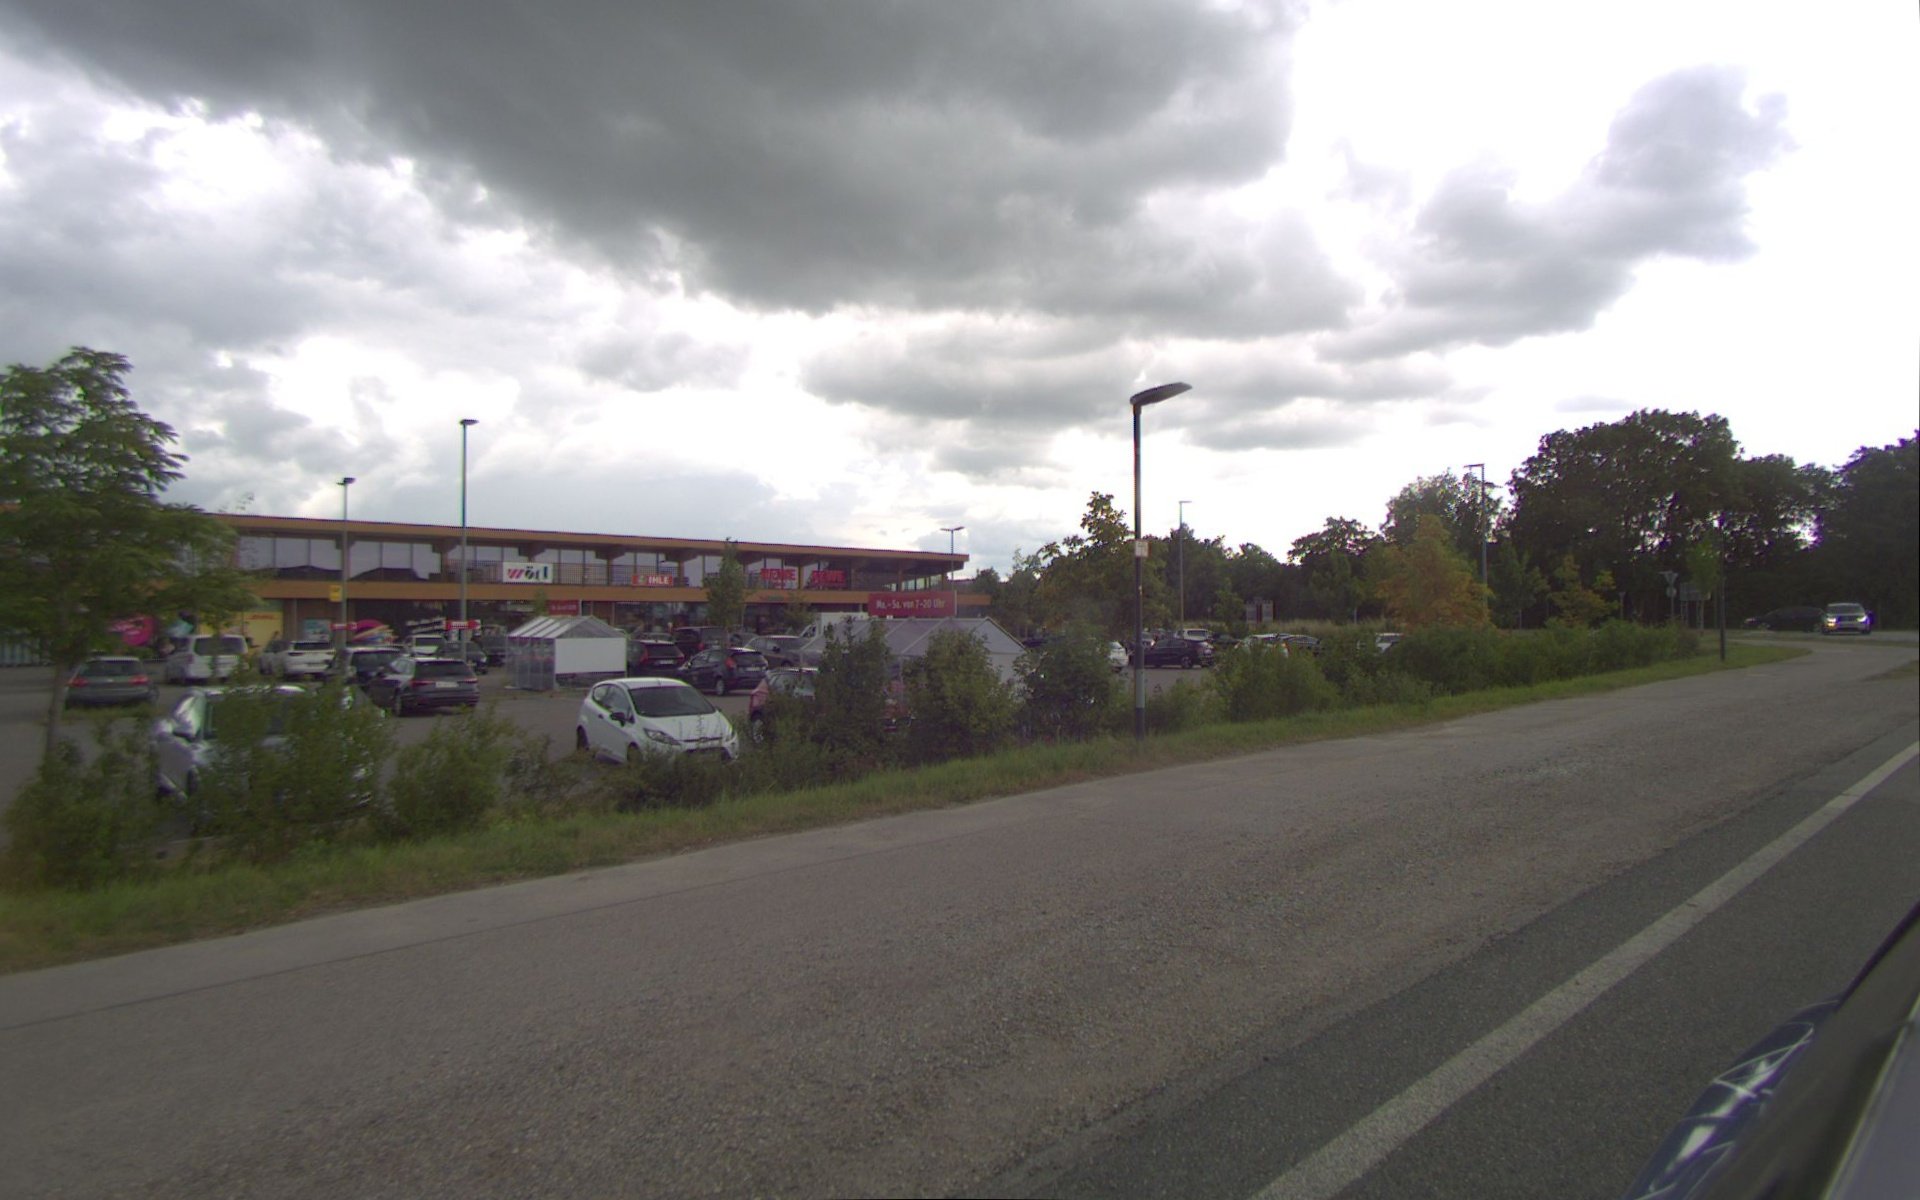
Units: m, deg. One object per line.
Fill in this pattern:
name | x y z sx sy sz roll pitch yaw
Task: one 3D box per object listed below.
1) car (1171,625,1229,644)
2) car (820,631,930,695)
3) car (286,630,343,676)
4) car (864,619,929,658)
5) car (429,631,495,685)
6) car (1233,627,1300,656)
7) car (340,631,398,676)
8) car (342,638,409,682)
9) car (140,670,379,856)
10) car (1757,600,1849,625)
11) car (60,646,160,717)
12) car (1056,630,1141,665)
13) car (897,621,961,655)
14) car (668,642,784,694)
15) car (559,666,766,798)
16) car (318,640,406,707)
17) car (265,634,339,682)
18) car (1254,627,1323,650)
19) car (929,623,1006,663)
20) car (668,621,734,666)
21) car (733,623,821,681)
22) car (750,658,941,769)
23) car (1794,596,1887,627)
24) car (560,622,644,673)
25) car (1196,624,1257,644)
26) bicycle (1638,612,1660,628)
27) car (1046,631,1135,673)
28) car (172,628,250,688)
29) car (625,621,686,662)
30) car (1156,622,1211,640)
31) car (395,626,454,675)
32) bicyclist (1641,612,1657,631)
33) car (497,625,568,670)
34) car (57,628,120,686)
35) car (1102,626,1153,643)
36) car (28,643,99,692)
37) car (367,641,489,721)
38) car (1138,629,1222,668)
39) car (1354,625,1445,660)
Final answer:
car | 18.427 2.613 77.751 3.916 1.377 1.705 1 0 -13
car | -3.063 2.153 35.801 1.962 1.894 4.274 1 0 -35
car | -28.549 2.297 44.680 1.908 1.772 4.000 1 0 -36
car | -3.748 2.209 59.224 2.032 2.039 4.000 1 0 -36
car | -21.687 2.464 44.020 1.962 2.039 4.000 1 0 -36
car | 16.901 2.266 55.977 1.806 1.377 4.008 1 0 -12
car | -27.060 2.407 46.300 1.908 1.772 4.000 1 0 -36
car | -24.003 2.424 41.512 1.761 1.496 3.745 0 0 -40
car | -9.128 1.888 13.036 2.045 1.618 4.152 0 0 -42
car | 50.496 0.734 60.694 3.964 1.438 1.699 1 0 29
car | -22.173 2.044 26.344 1.869 1.451 4.184 0 0 -42
car | 6.951 2.368 51.133 1.962 1.504 4.131 0 0 -36
car | -1.946 2.260 61.705 2.032 1.871 4.000 1 0 -36
car | -7.454 2.092 32.012 1.965 1.460 3.993 0 -1 -41
car | -4.995 2.037 16.653 1.647 1.557 4.152 0 0 -42
car | -18.040 2.143 30.451 1.962 1.638 4.000 0 0 -36
car | -26.005 2.245 39.965 2.003 1.628 3.745 0 0 -40
car | 21.264 2.502 65.471 3.916 1.377 1.705 1 0 -13
car | 0.342 2.257 53.994 1.962 1.894 4.274 1 0 -35
car | -13.242 2.159 51.558 1.962 2.039 4.000 1 0 -36
car | -7.383 2.026 40.522 1.962 2.039 4.000 1 0 -36
car | -2.197 1.992 18.677 1.647 1.557 3.761 0 0 -42
car | 45.057 0.560 51.914 1.969 1.538 3.757 1 0 12
car | -16.790 2.153 47.355 1.965 2.039 5.137 1 0 -41
car | 19.570 2.515 74.361 3.916 1.377 1.705 1 0 -13
bicycle | 44.637 1.311 65.592 0.557 0.974 1.301 1 0 0
car | 5.591 2.194 43.494 1.723 1.552 3.554 0 0 -41
car | -27.913 2.101 37.674 2.004 1.935 3.898 0 0 -42
car | -16.715 2.220 55.440 1.962 2.039 4.123 1 0 -36
car | 17.856 2.502 80.914 3.916 1.377 1.705 1 0 -13
car | -25.674 2.366 48.461 1.962 2.039 4.000 1 0 -36
bicyclist | 44.637 1.394 65.563 0.545 1.259 0.659 1 0 0
car | -22.666 2.467 53.566 1.965 2.039 5.137 1 0 -41
car | -34.994 2.233 40.596 1.819 2.036 4.223 1 0 -42
car | 14.282 2.950 86.253 3.916 1.377 1.705 1 0 -13
car | -30.660 2.260 34.630 1.744 1.399 3.466 0 0 -42
car | -13.586 1.968 25.723 1.964 1.638 3.995 0 0 -40
car | 10.251 2.255 47.251 1.771 1.728 3.385 0 -3 -41
car | 23.212 2.230 53.477 4.154 1.738 1.705 1 0 -13
